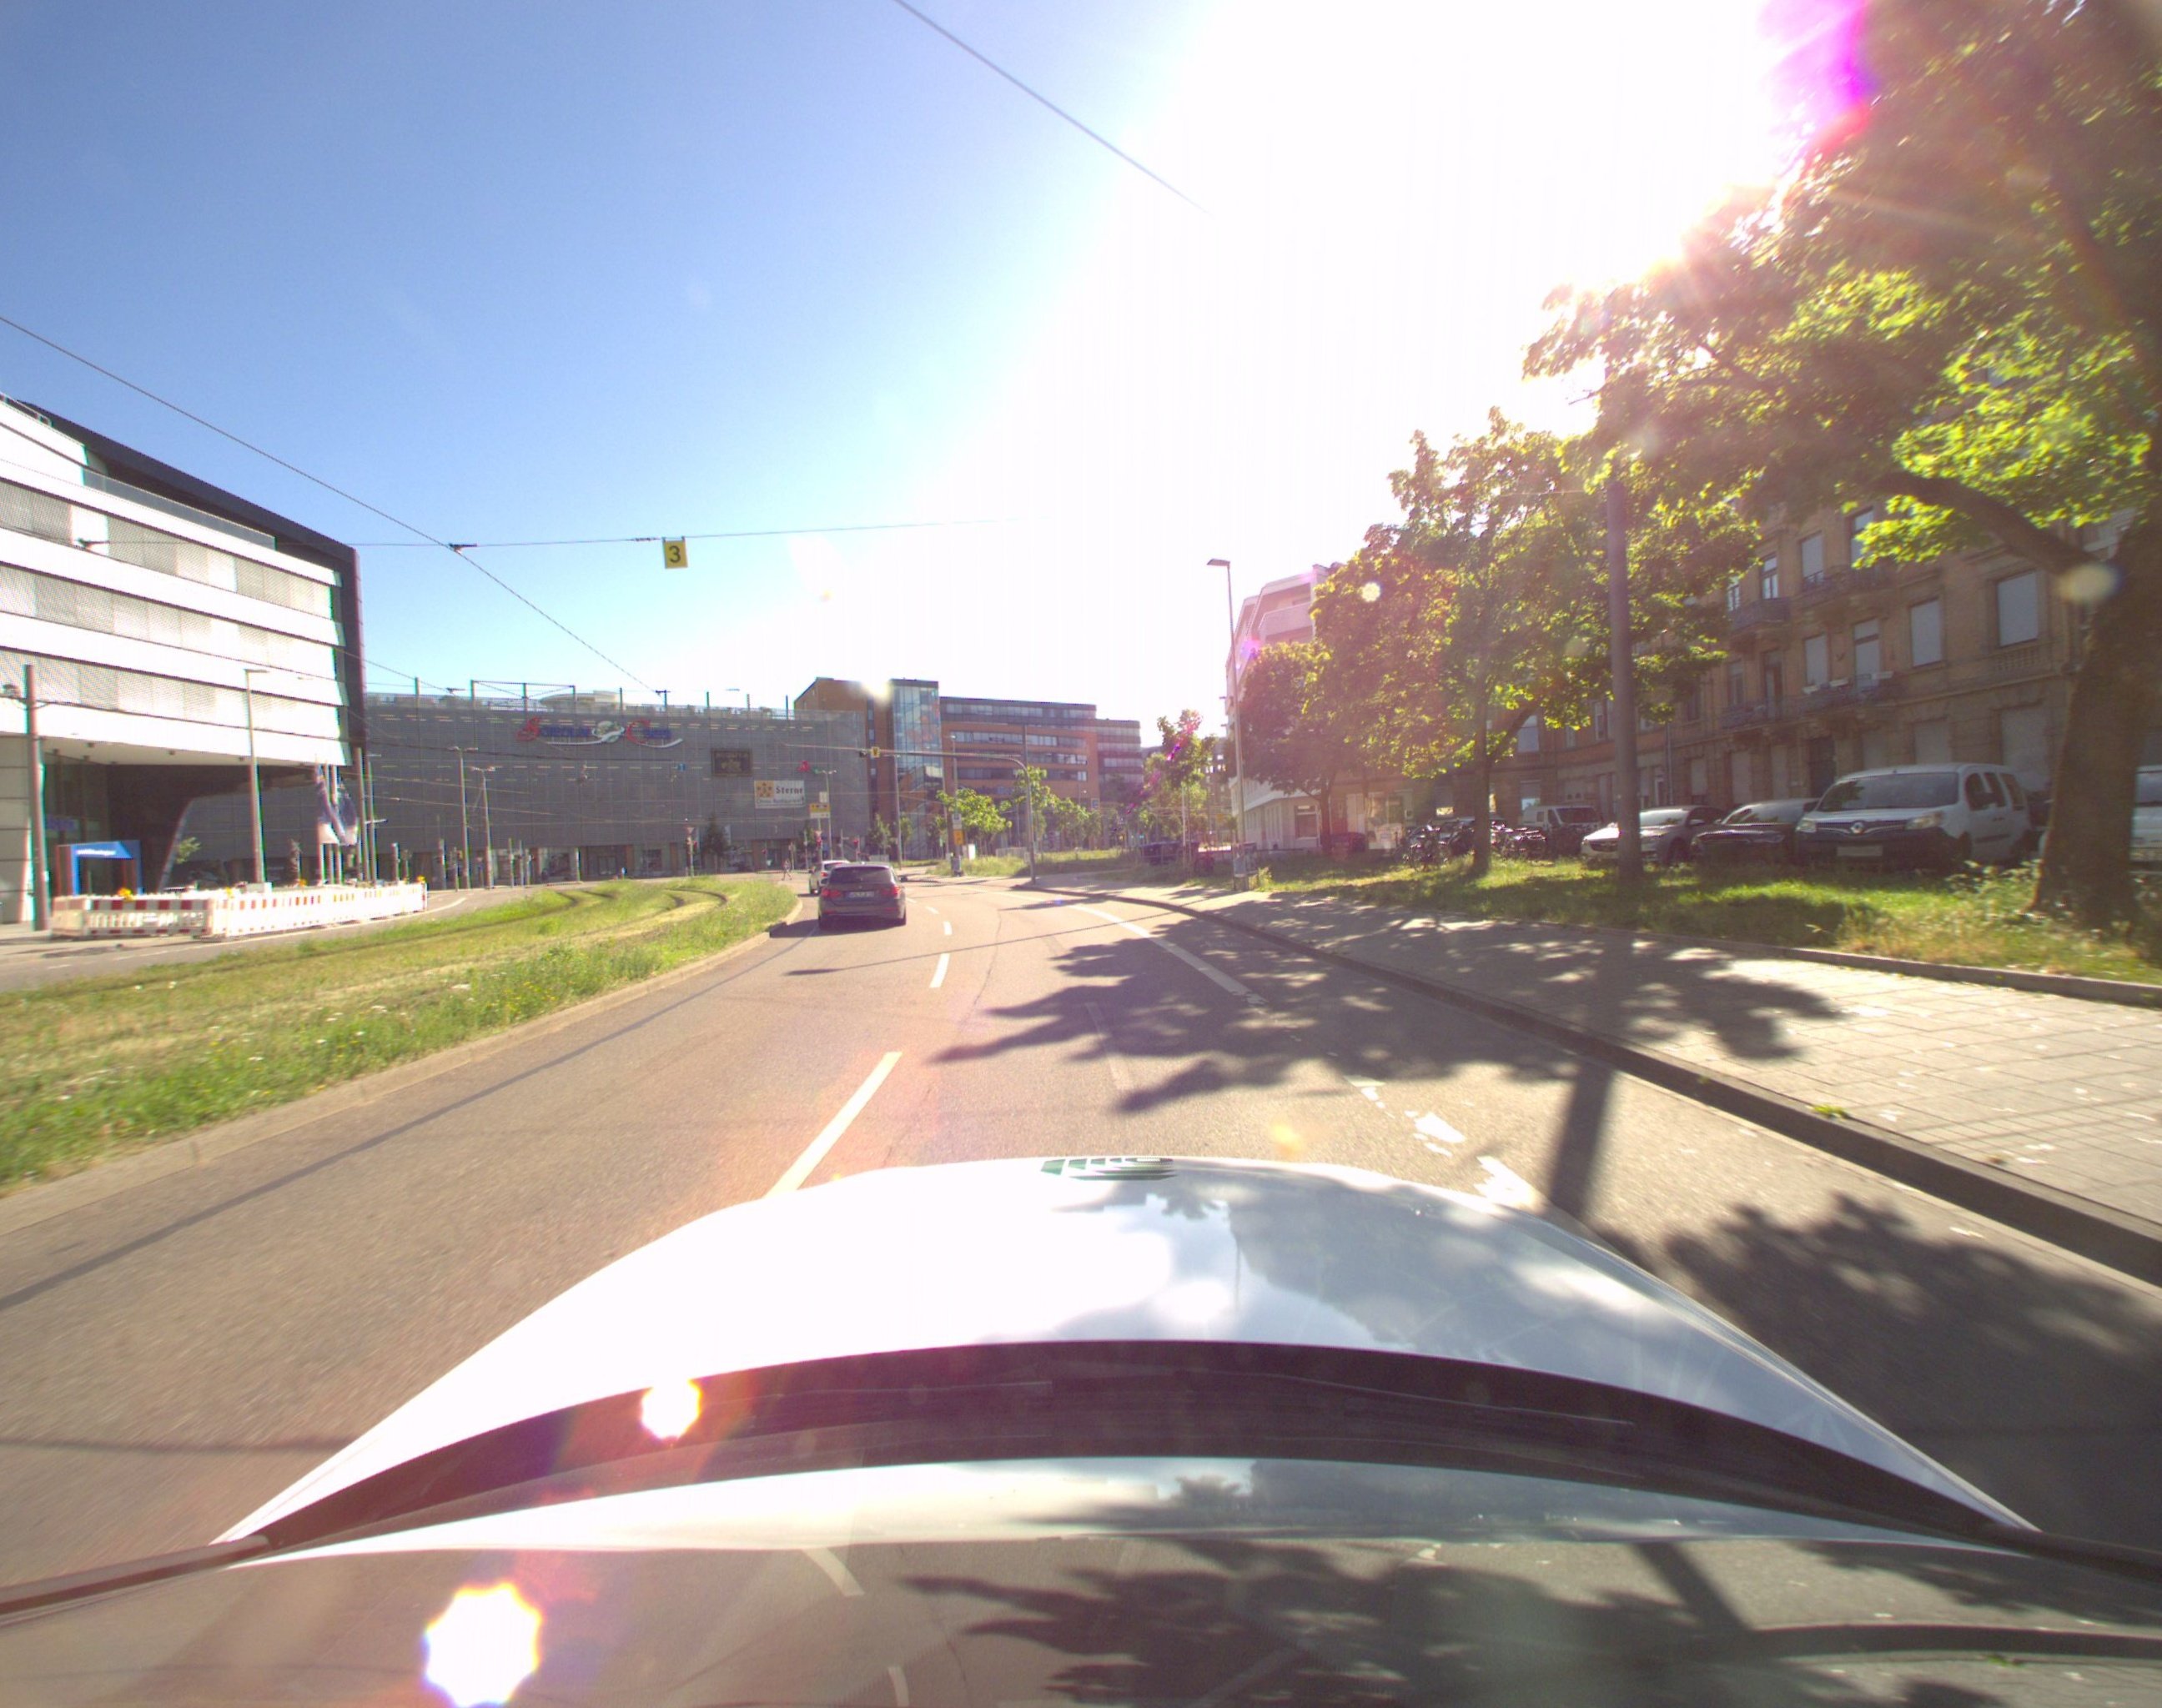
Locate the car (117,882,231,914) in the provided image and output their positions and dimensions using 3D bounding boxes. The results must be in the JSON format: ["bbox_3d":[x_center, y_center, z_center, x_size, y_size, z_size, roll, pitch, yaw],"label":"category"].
[{"bbox_3d":[-58.736,2.798,52.854,4.521,1.634,1.820,-4,2,-33],"label":"car"}]

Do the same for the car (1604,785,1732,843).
[{"bbox_3d":[23.208,-1.553,32.465,1.983,1.977,4.733,-5,1,6],"label":"car"}]

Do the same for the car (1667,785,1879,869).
[{"bbox_3d":[13.436,-0.531,15.813,3.624,1.380,1.908,-4,1,-28],"label":"car"}]

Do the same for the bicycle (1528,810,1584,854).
[{"bbox_3d":[16.256,-0.767,27.873,2.109,1.364,0.779,-4,0,-35],"label":"bicycle"}]

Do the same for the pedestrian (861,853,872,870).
[{"bbox_3d":[-22.474,0.783,85.322,0.812,1.708,0.754,-4,0,-33],"label":"pedestrian"}]

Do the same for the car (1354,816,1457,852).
[{"bbox_3d":[14.647,-0.897,36.774,4.054,1.337,1.829,-4,1,-18],"label":"car"}]

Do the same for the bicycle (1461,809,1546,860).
[{"bbox_3d":[12.676,-0.585,24.473,2.086,1.364,0.787,-4,0,0],"label":"bicycle"}]

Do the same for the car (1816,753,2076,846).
[{"bbox_3d":[22.157,-1.334,21.235,1.983,1.977,4.733,-5,1,6],"label":"car"}]

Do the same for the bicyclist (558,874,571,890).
[{"bbox_3d":[-61.824,3.373,97.444,0.807,1.803,0.849,-3,0,16],"label":"bicyclist"}]

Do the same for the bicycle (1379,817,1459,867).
[{"bbox_3d":[10.342,-0.366,24.970,2.086,1.364,0.787,-4,0,0],"label":"bicycle"}]

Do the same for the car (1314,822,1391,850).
[{"bbox_3d":[16.652,-1.100,49.937,4.054,1.436,2.013,-3,0,33],"label":"car"}]

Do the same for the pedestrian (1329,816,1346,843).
[{"bbox_3d":[15.646,-1.490,49.635,0.634,1.576,0.776,-3,0,43],"label":"pedestrian"}]

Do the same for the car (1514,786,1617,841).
[{"bbox_3d":[23.938,-1.975,40.512,2.337,2.357,5.198,-5,1,7],"label":"car"}]

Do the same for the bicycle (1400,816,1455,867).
[{"bbox_3d":[9.656,-0.357,22.666,1.607,1.290,0.760,-6,1,-44],"label":"bicycle"}]

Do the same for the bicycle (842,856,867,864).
[{"bbox_3d":[-34.128,0.932,122.775,3.379,1.077,1.107,-3,1,-26],"label":"bicycle"}]

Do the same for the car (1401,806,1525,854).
[{"bbox_3d":[14.904,-0.936,31.750,4.479,1.565,1.922,-4,1,-26],"label":"car"}]

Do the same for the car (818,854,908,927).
[{"bbox_3d":[-4.877,0.765,18.604,1.736,1.423,4.447,-1,-1,-13],"label":"car"}]

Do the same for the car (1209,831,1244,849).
[{"bbox_3d":[18.601,-1.807,103.815,3.952,2.013,2.011,-3,0,21],"label":"car"}]

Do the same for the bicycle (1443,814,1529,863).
[{"bbox_3d":[11.487,-0.445,23.160,1.948,1.191,0.843,-5,0,5],"label":"bicycle"}]

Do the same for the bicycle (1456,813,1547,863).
[{"bbox_3d":[11.454,-0.435,22.234,1.935,1.180,0.901,-5,0,5],"label":"bicycle"}]

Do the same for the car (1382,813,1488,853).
[{"bbox_3d":[14.993,-0.883,34.523,3.839,1.441,1.750,-4,1,-16],"label":"car"}]

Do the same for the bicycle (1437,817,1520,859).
[{"bbox_3d":[12.470,-0.509,25.575,2.154,1.158,0.823,-4,0,2],"label":"bicycle"}]

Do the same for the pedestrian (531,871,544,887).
[{"bbox_3d":[-64.323,2.960,96.365,0.897,1.868,0.823,-3,0,10],"label":"pedestrian"}]

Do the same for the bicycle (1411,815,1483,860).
[{"bbox_3d":[12.552,-0.566,27.944,2.090,1.398,0.786,-4,0,-5],"label":"bicycle"}]

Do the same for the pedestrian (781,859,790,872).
[{"bbox_3d":[-38.495,1.504,105.998,0.860,1.737,0.745,-4,1,-39],"label":"pedestrian"}]

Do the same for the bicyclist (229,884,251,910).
[{"bbox_3d":[-54.522,2.773,52.777,0.788,1.648,0.683,-4,0,-34],"label":"bicyclist"}]

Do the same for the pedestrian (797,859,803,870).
[{"bbox_3d":[-39.890,1.517,115.767,0.593,1.534,0.651,-4,0,-33],"label":"pedestrian"}]

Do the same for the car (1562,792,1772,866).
[{"bbox_3d":[13.616,-0.590,18.877,4.765,1.380,2.027,-4,1,-28],"label":"car"}]

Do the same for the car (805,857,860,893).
[{"bbox_3d":[-10.653,0.904,34.737,1.641,1.423,3.749,-1,-1,-27],"label":"car"}]

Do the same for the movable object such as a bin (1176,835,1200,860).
[{"bbox_3d":[6.424,-0.412,48.926,1.019,1.398,1.097,-3,1,26],"label":"movable object such as a bin"}]

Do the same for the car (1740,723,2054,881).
[{"bbox_3d":[12.902,-0.841,12.823,4.894,2.012,2.081,-6,0,-28],"label":"car"}]

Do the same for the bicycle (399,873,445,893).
[{"bbox_3d":[-77.933,3.408,96.373,4.014,2.013,1.316,-3,1,-32],"label":"bicycle"}]

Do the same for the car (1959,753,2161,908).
[{"bbox_3d":[13.790,-0.438,10.314,4.888,1.647,2.084,-6,0,-24],"label":"car"}]

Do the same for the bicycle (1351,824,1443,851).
[{"bbox_3d":[15.751,-0.820,40.975,2.665,1.127,5.223,-4,1,1],"label":"bicycle"}]

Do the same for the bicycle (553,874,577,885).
[{"bbox_3d":[-61.764,3.021,97.493,1.034,1.070,2.255,-3,1,17],"label":"bicycle"}]

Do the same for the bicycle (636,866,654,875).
[{"bbox_3d":[-57.542,2.216,107.487,2.040,1.059,1.133,-4,1,-33],"label":"bicycle"}]

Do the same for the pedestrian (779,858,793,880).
[{"bbox_3d":[-24.247,1.229,66.895,0.892,1.707,0.705,-4,0,-33],"label":"pedestrian"}]

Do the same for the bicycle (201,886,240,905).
[{"bbox_3d":[-55.189,2.643,52.255,1.589,1.107,0.726,-3,0,-38],"label":"bicycle"}]

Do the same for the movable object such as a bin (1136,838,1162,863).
[{"bbox_3d":[4.097,-0.208,49.228,1.058,1.398,1.312,-3,1,26],"label":"movable object such as a bin"}]

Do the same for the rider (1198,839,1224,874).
[{"bbox_3d":[4.827,0.082,30.172,0.497,1.176,1.686,-3,2,23],"label":"rider"}]

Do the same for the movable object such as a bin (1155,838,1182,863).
[{"bbox_3d":[5.285,-0.235,49.157,1.097,1.398,1.329,-3,1,26],"label":"movable object such as a bin"}]
